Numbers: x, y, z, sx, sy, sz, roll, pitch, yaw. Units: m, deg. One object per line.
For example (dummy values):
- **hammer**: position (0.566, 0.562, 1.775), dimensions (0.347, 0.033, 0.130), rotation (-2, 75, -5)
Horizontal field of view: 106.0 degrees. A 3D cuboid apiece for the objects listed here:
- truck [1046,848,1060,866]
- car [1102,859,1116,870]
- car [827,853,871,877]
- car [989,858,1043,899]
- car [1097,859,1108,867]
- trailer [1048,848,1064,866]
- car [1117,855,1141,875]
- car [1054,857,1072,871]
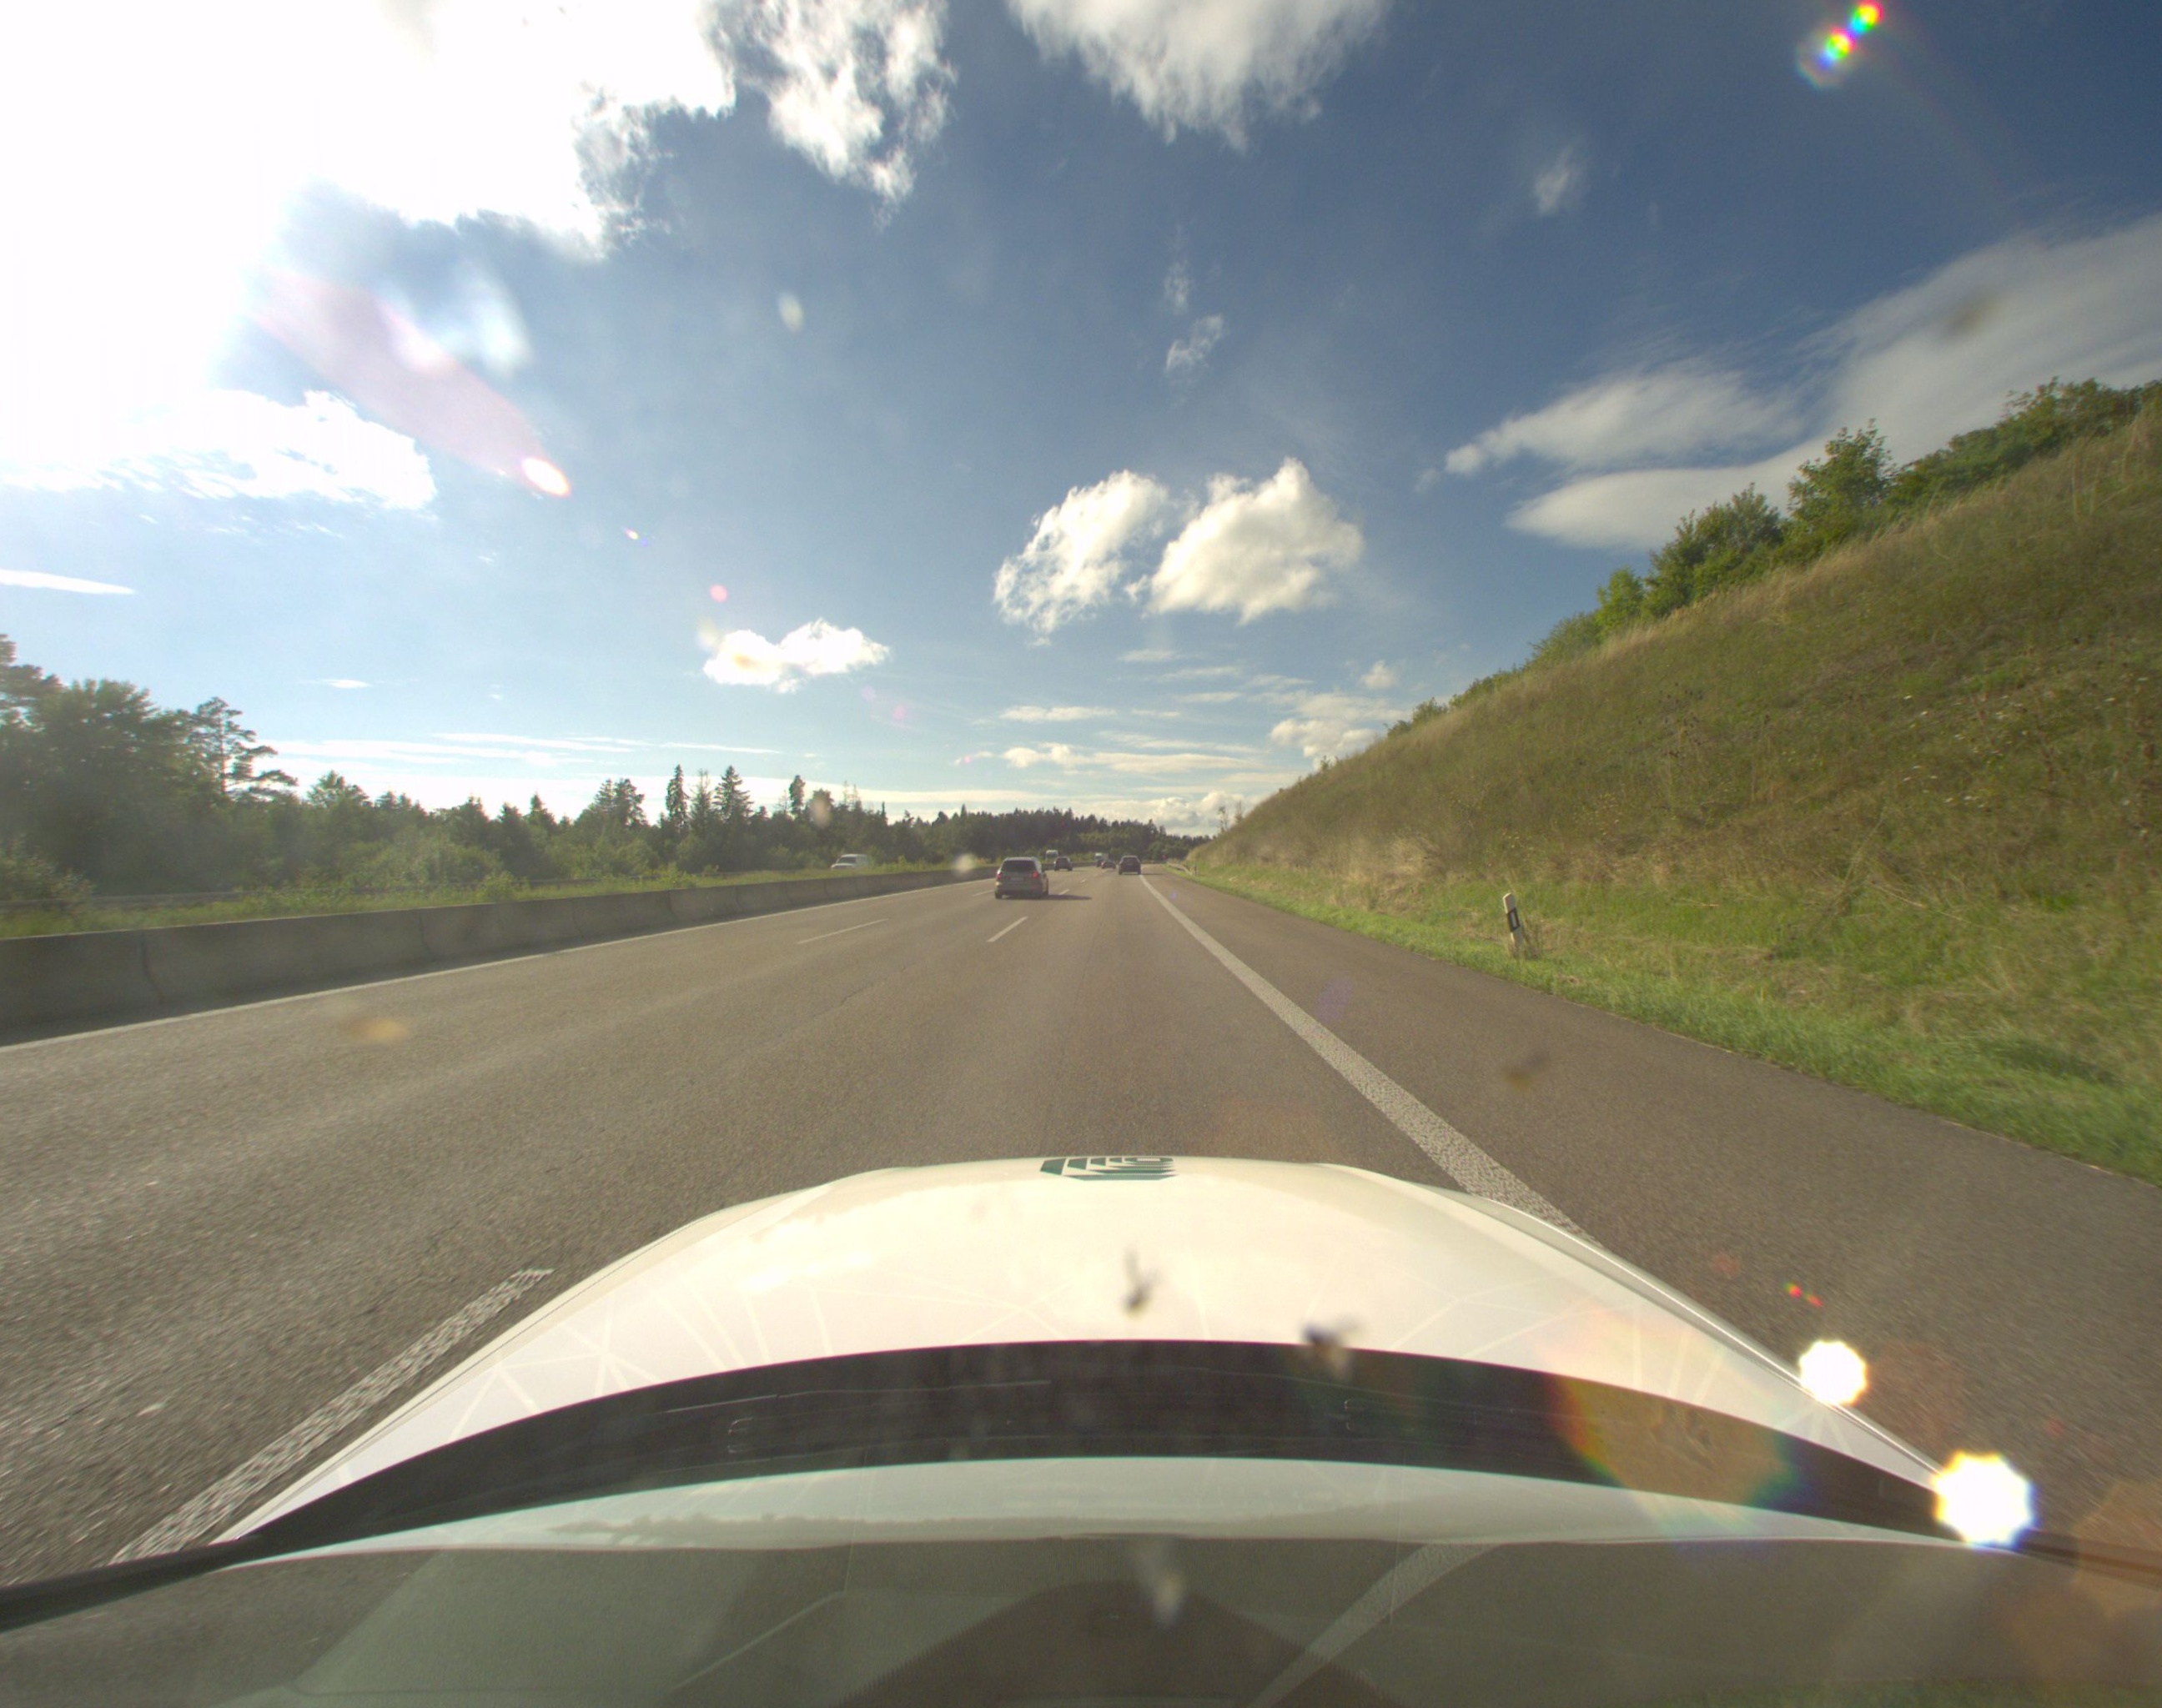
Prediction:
- **truck**: position (-6.796, 0.817, 200.555), dimensions (2.789, 4.392, 5.471), rotation (-1, 0, 4)
- **car**: position (3.913, 1.416, 113.302), dimensions (1.866, 1.497, 3.883), rotation (-1, 0, 3)
- **car**: position (-19.933, 0.931, 70.319), dimensions (1.985, 2.013, 5.391), rotation (-1, 0, 3)
- **car**: position (-2.472, 0.907, 31.766), dimensions (1.868, 1.497, 3.877), rotation (-1, 0, -1)
- **car**: position (3.777, 1.565, 143.196), dimensions (1.865, 1.497, 3.884), rotation (-1, 0, 4)
- **trailer**: position (-6.266, 0.834, 207.218), dimensions (2.789, 4.392, 12.065), rotation (-1, 0, 5)
- **car**: position (4.183, 0.924, 71.252), dimensions (1.867, 1.675, 3.890), rotation (-1, 0, 1)
- **car**: position (-2.109, 1.137, 95.145), dimensions (1.866, 1.497, 3.882), rotation (-1, 0, 2)
